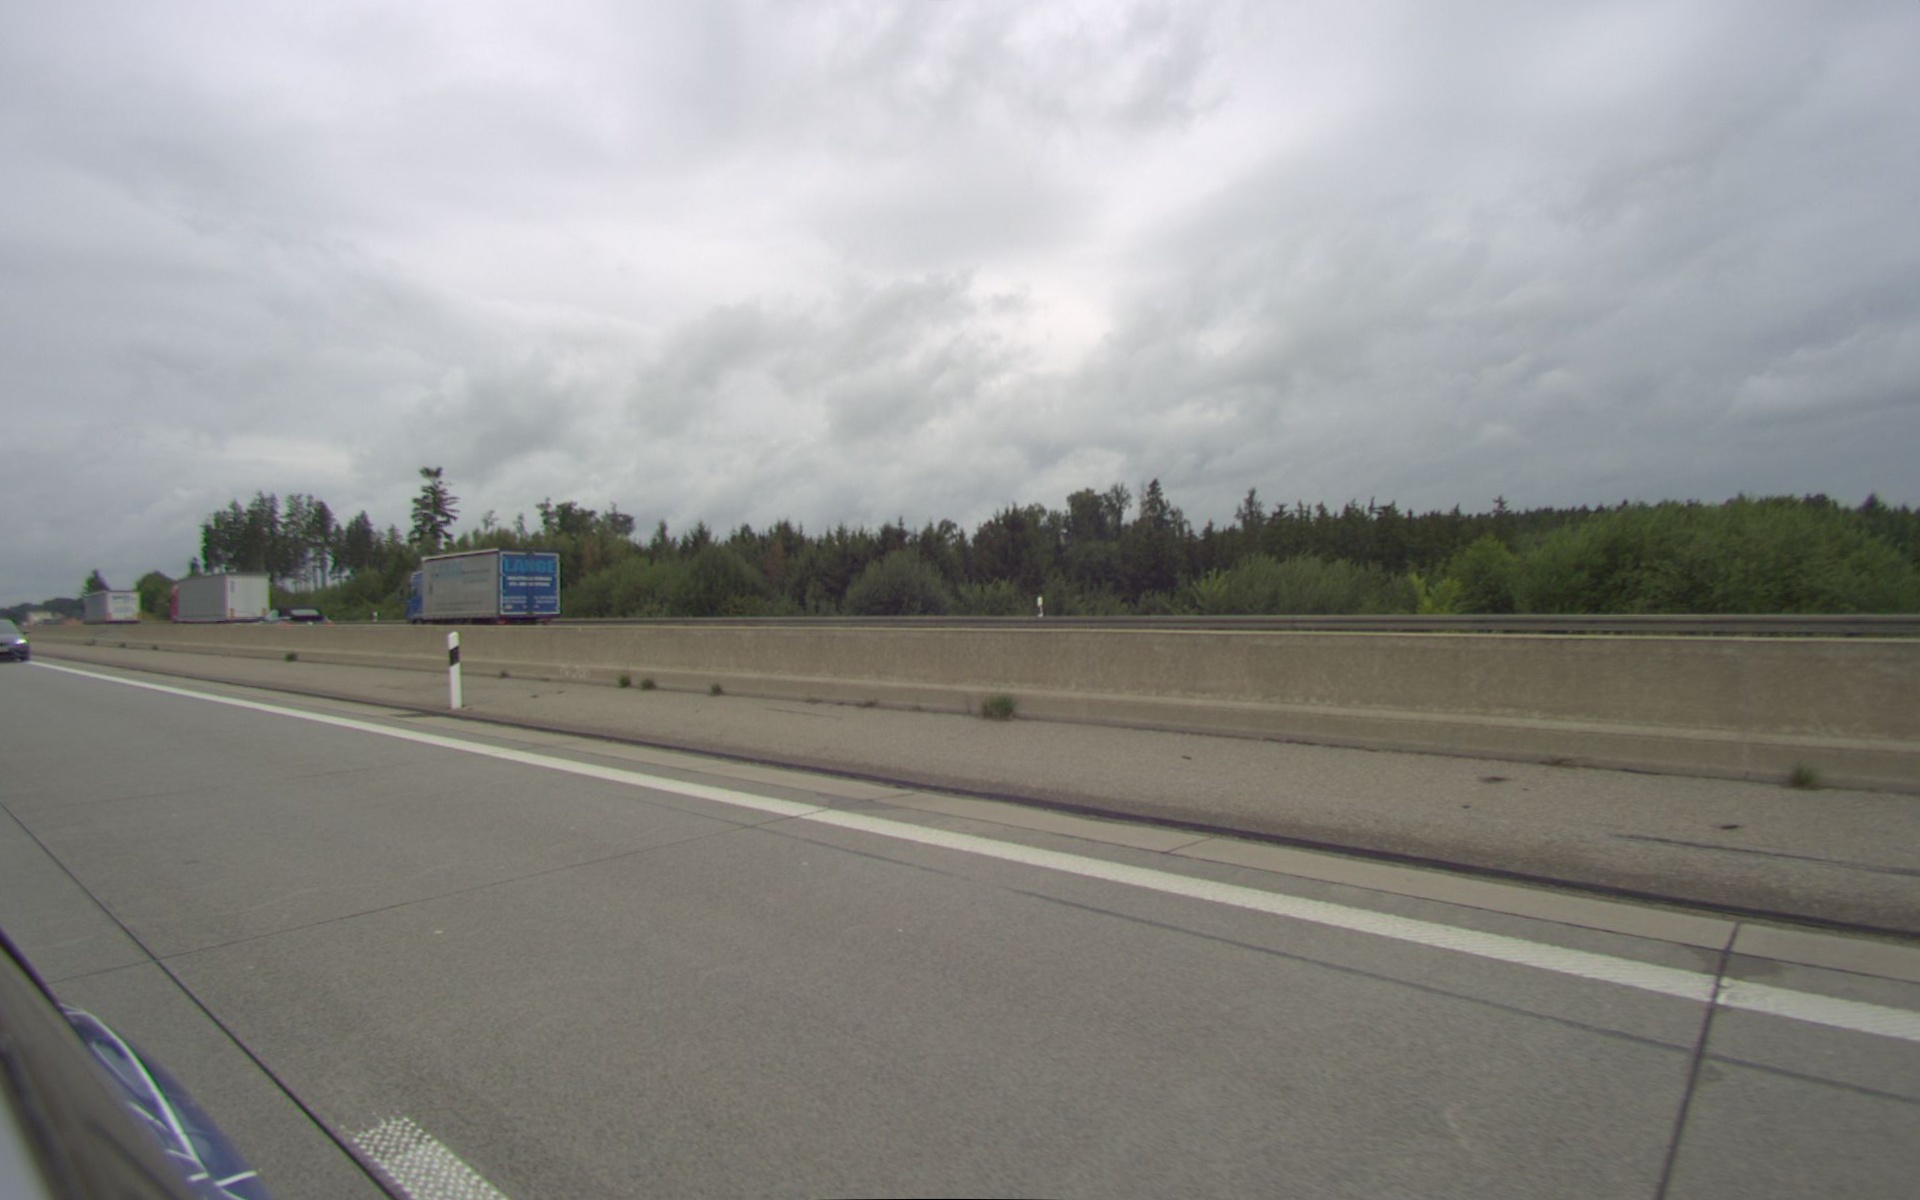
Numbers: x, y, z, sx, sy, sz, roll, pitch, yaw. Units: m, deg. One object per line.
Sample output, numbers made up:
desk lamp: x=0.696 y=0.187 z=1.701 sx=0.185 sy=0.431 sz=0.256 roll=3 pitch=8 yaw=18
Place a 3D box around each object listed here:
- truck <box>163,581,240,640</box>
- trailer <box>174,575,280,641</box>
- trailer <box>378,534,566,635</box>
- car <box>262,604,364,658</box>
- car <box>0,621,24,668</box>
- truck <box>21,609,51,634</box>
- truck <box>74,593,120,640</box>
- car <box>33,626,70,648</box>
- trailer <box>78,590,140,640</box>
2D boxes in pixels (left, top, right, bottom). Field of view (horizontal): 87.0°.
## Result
truck: x=-56.782 y=0.843 z=75.729 sx=6.492 sy=4.214 sz=3.433 roll=-2 pitch=-1 yaw=42
trailer: x=-51.530 y=0.660 z=70.913 sx=12.925 sy=4.233 sz=3.446 roll=-2 pitch=-1 yaw=42
trailer: x=-21.465 y=-0.472 z=43.920 sx=12.394 sy=3.866 sz=2.819 roll=-2 pitch=-1 yaw=42
car: x=-21.722 y=1.033 z=33.934 sx=3.533 sy=1.696 sz=1.973 roll=-2 pitch=-1 yaw=41
car: x=-32.887 y=1.503 z=33.966 sx=4.569 sy=1.491 sz=1.766 roll=-2 pitch=-1 yaw=42
truck: x=-149.111 y=3.439 z=163.288 sx=8.899 sy=3.893 sz=2.867 roll=-2 pitch=-1 yaw=43
truck: x=-89.620 y=1.693 z=105.051 sx=5.231 sy=4.712 sz=2.897 roll=-2 pitch=-1 yaw=42
car: x=-71.006 y=2.888 z=79.108 sx=4.180 sy=1.691 sz=1.695 roll=-2 pitch=-1 yaw=42
trailer: x=-84.643 y=1.555 z=100.532 sx=13.634 sy=4.660 sz=2.885 roll=-2 pitch=-1 yaw=42
